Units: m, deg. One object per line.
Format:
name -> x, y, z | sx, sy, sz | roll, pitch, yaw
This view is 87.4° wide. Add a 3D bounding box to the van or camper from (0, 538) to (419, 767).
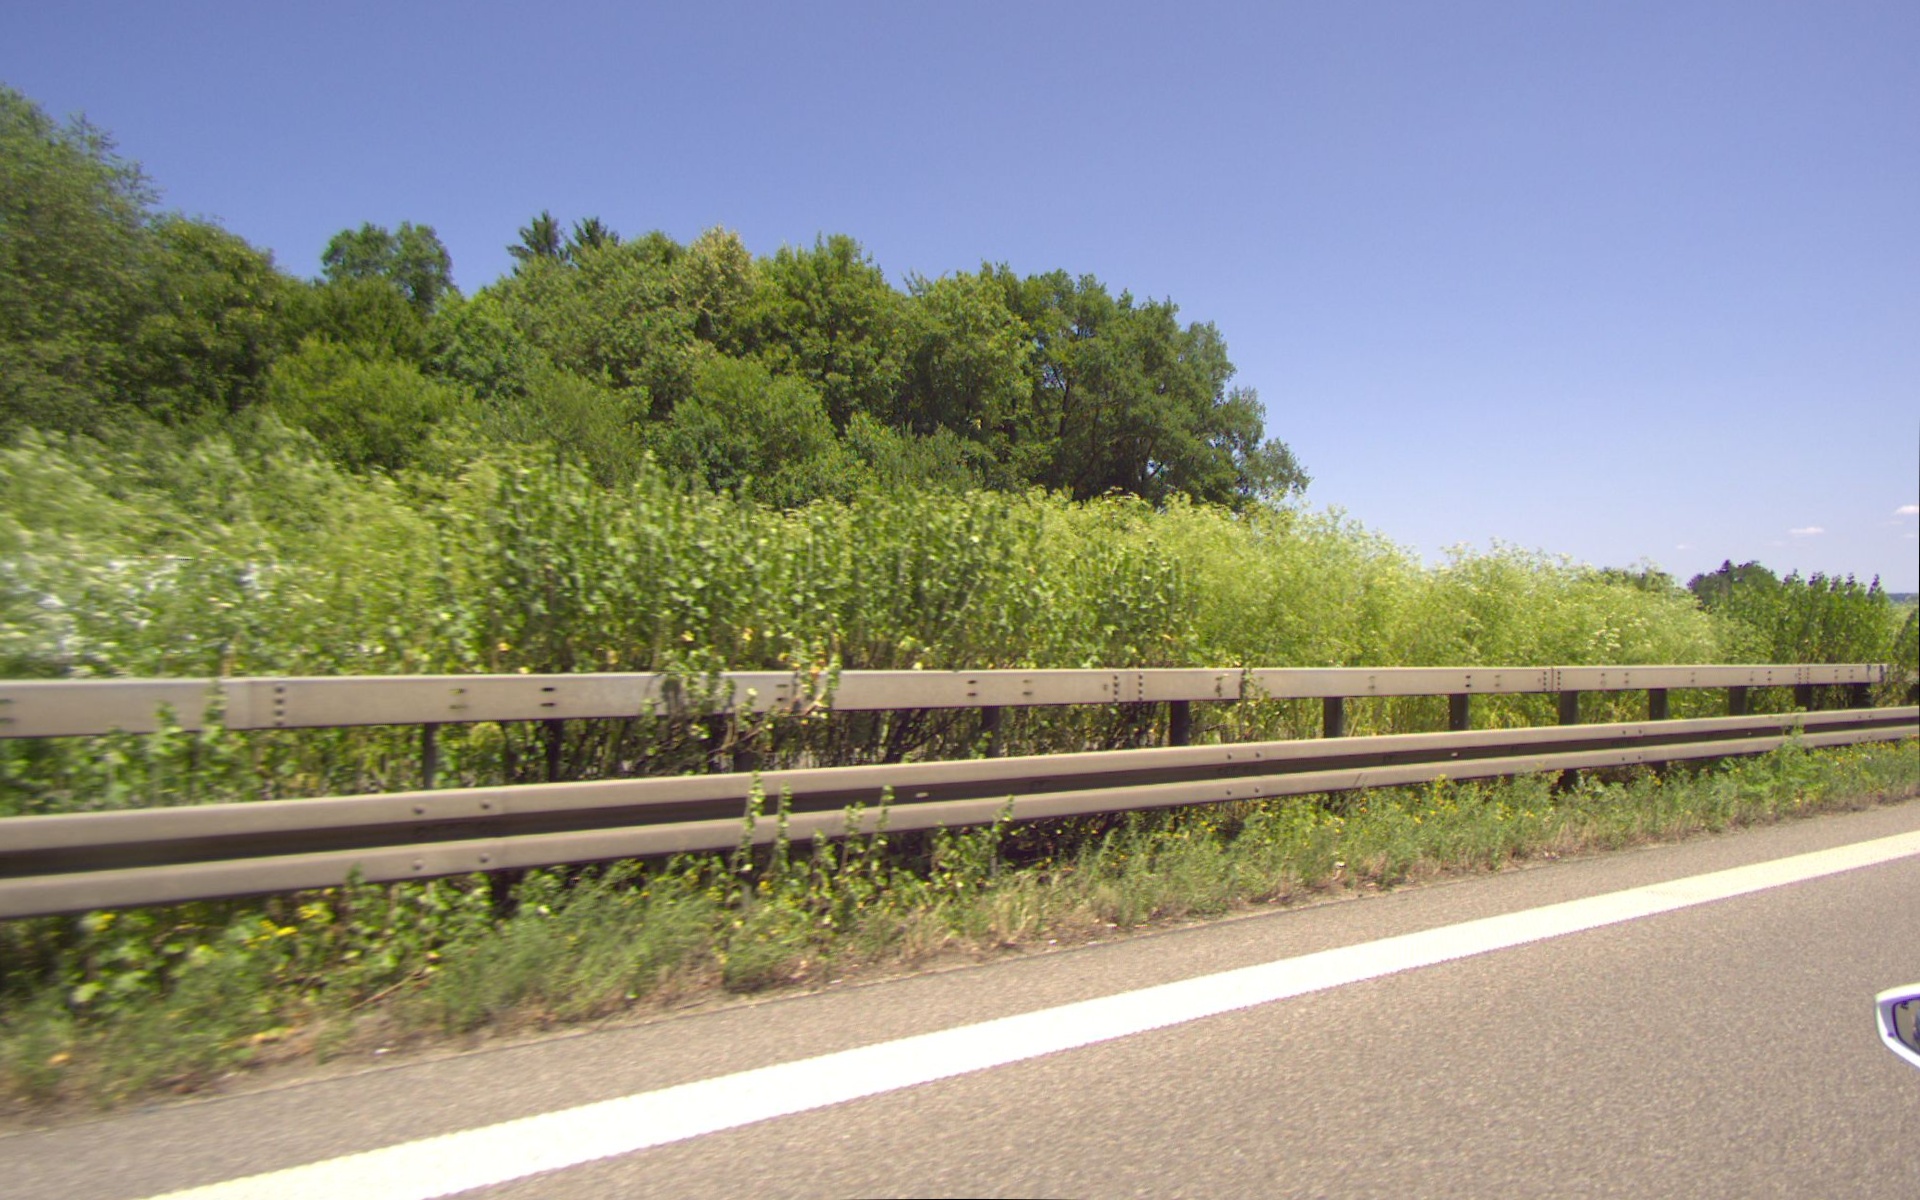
van or camper -> -11.963, 0.666, 14.148 | 7.601, 2.904, 2.310 | 1, 0, -30
